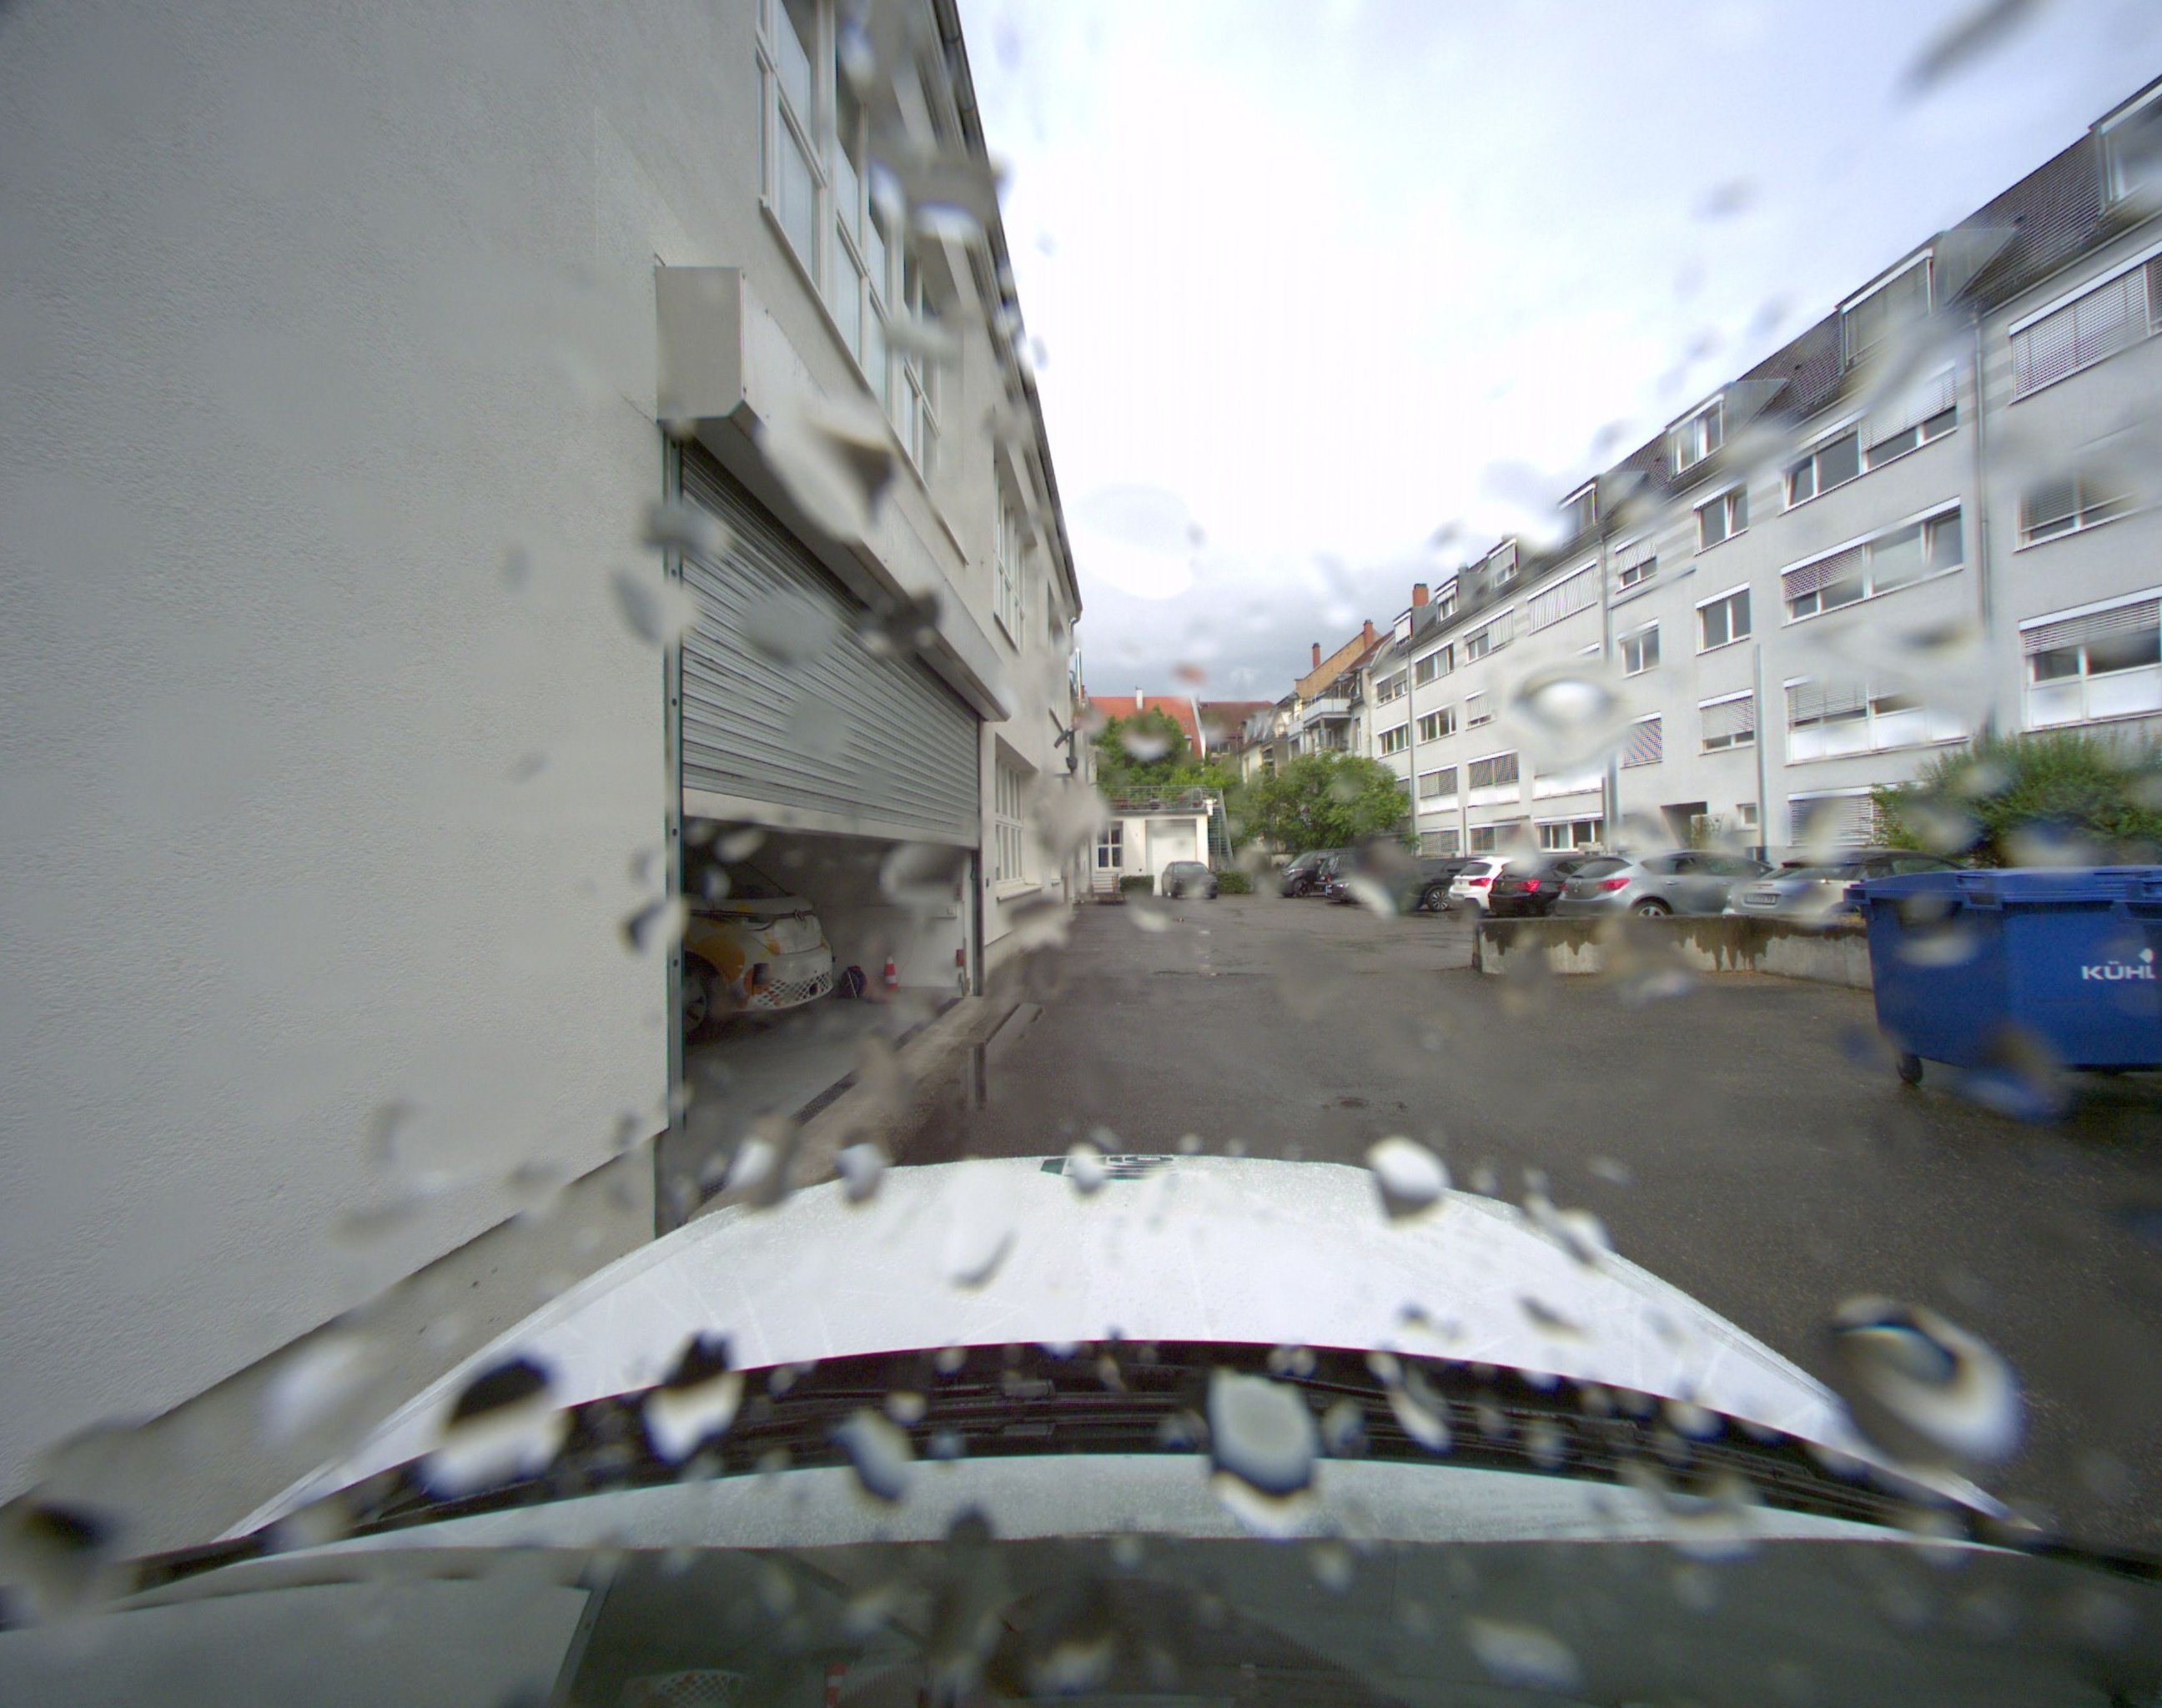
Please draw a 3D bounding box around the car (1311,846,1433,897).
[{"bbox_3d":[10.850,0.653,30.589,3.894,1.687,1.818,-3,-1,1],"label":"car"}]

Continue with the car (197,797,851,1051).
[{"bbox_3d":[-4.806,0.565,7.595,4.670,2.014,2.086,0,-1,3],"label":"car"}]

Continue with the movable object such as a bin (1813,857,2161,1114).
[{"bbox_3d":[5.487,0.695,4.774,1.365,1.304,1.084,-2,-1,5],"label":"movable object such as a bin"}]

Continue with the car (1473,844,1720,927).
[{"bbox_3d":[10.546,0.622,16.850,3.976,1.403,1.772,-3,0,-2],"label":"car"}]

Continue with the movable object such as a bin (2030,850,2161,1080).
[{"bbox_3d":[6.781,0.624,4.730,1.180,1.304,1.108,-2,-1,4],"label":"movable object such as a bin"}]

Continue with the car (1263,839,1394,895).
[{"bbox_3d":[10.096,0.510,33.441,4.631,2.003,2.219,-2,0,-7],"label":"car"}]

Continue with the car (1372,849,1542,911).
[{"bbox_3d":[10.425,0.712,22.764,3.901,1.514,1.817,-2,-1,-4],"label":"car"}]

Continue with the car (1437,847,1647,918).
[{"bbox_3d":[10.836,0.648,19.335,3.977,1.458,1.771,-2,-1,-3],"label":"car"}]

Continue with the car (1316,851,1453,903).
[{"bbox_3d":[10.133,0.750,27.337,3.899,1.514,1.750,-2,-1,-2],"label":"car"}]

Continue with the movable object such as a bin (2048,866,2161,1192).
[{"bbox_3d":[4.959,0.682,3.026,1.331,1.292,1.097,-2,-1,5],"label":"movable object such as a bin"}]

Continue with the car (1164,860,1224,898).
[{"bbox_3d":[4.524,0.969,33.213,1.972,1.444,4.001,-1,-1,1],"label":"car"}]

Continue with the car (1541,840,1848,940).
[{"bbox_3d":[10.532,0.600,14.207,3.974,1.445,1.806,-3,-1,0],"label":"car"}]

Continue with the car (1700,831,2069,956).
[{"bbox_3d":[10.994,0.524,11.342,3.404,1.427,1.688,-3,-1,0],"label":"car"}]
